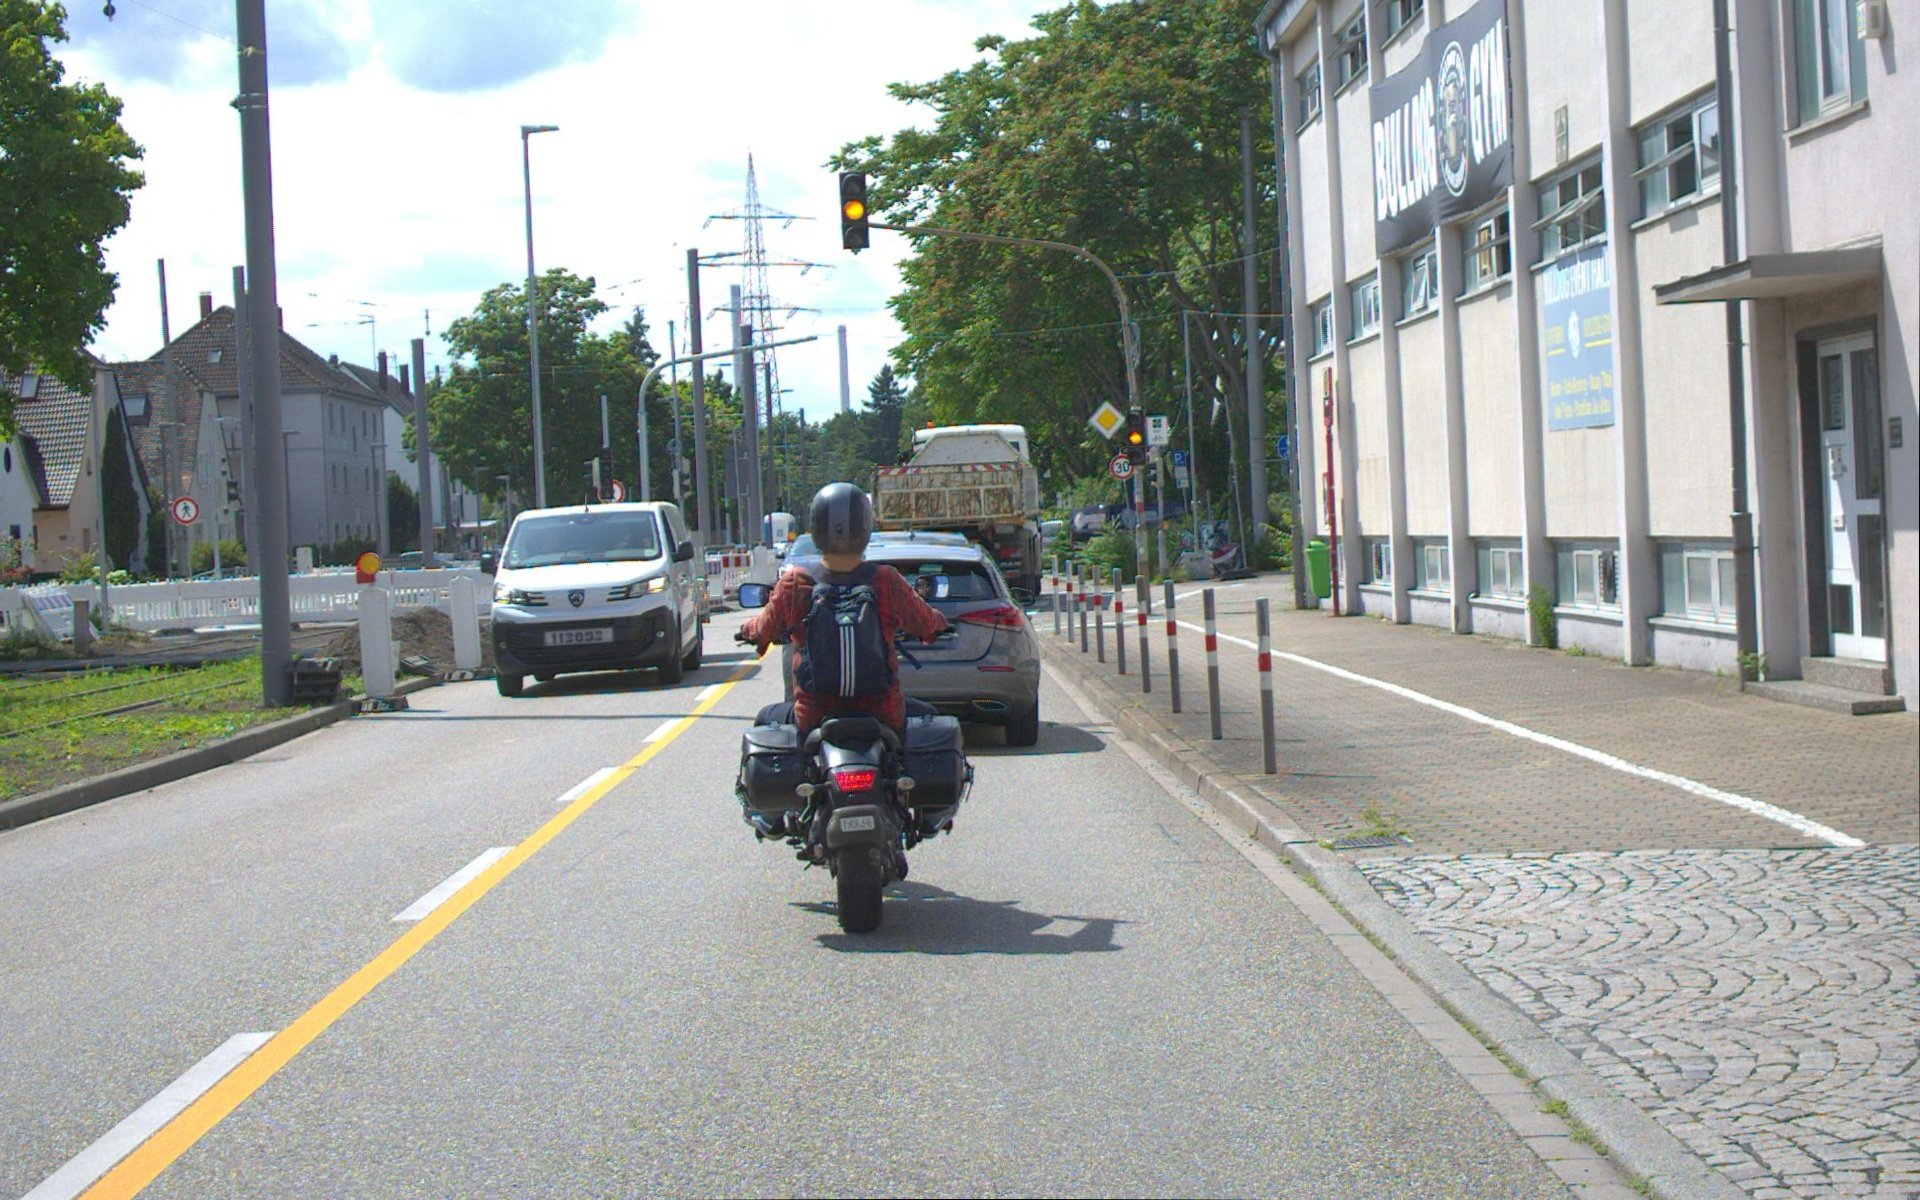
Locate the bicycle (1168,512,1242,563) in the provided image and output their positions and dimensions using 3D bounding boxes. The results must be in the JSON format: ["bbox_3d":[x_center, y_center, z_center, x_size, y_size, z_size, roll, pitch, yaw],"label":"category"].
[{"bbox_3d":[5.756,-1.469,80.756,1.708,1.168,0.438,0,0,5],"label":"bicycle"}]

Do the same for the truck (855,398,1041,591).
[{"bbox_3d":[-0.102,-1.782,60.618,2.967,3.162,7.764,0,1,2],"label":"truck"}]

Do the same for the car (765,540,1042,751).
[{"bbox_3d":[-0.494,0.270,25.137,1.731,1.399,4.087,0,1,-5],"label":"car"}]

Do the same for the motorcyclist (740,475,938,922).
[{"bbox_3d":[-0.437,0.350,12.692,0.698,1.599,0.692,0,0,-1],"label":"motorcyclist"}]

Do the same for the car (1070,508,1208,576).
[{"bbox_3d":[5.205,-1.672,99.763,1.802,1.919,3.989,0,1,45],"label":"car"}]

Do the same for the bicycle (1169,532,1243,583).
[{"bbox_3d":[5.739,-0.998,80.184,1.708,1.168,0.438,0,0,5],"label":"bicycle"}]

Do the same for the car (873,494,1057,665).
[{"bbox_3d":[0.105,-0.289,39.159,1.901,1.706,4.719,-2,2,1],"label":"car"}]

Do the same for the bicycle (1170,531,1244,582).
[{"bbox_3d":[5.724,-0.997,79.717,1.708,1.168,0.438,0,0,5],"label":"bicycle"}]

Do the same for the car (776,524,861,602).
[{"bbox_3d":[-2.893,-0.785,70.750,1.644,1.493,4.269,-2,2,-1],"label":"car"}]

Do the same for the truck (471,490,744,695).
[{"bbox_3d":[-3.639,-0.140,36.484,1.820,1.903,5.116,-4,1,5],"label":"truck"}]

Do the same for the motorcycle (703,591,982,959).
[{"bbox_3d":[-0.411,0.592,12.918,0.942,1.196,2.473,0,1,-1],"label":"motorcycle"}]

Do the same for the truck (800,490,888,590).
[{"bbox_3d":[-3.151,-1.687,94.598,2.093,2.468,5.196,-4,3,0],"label":"truck"}]

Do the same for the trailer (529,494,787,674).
[{"bbox_3d":[-3.460,-0.218,40.506,2.062,1.829,5.485,-4,1,4],"label":"trailer"}]
